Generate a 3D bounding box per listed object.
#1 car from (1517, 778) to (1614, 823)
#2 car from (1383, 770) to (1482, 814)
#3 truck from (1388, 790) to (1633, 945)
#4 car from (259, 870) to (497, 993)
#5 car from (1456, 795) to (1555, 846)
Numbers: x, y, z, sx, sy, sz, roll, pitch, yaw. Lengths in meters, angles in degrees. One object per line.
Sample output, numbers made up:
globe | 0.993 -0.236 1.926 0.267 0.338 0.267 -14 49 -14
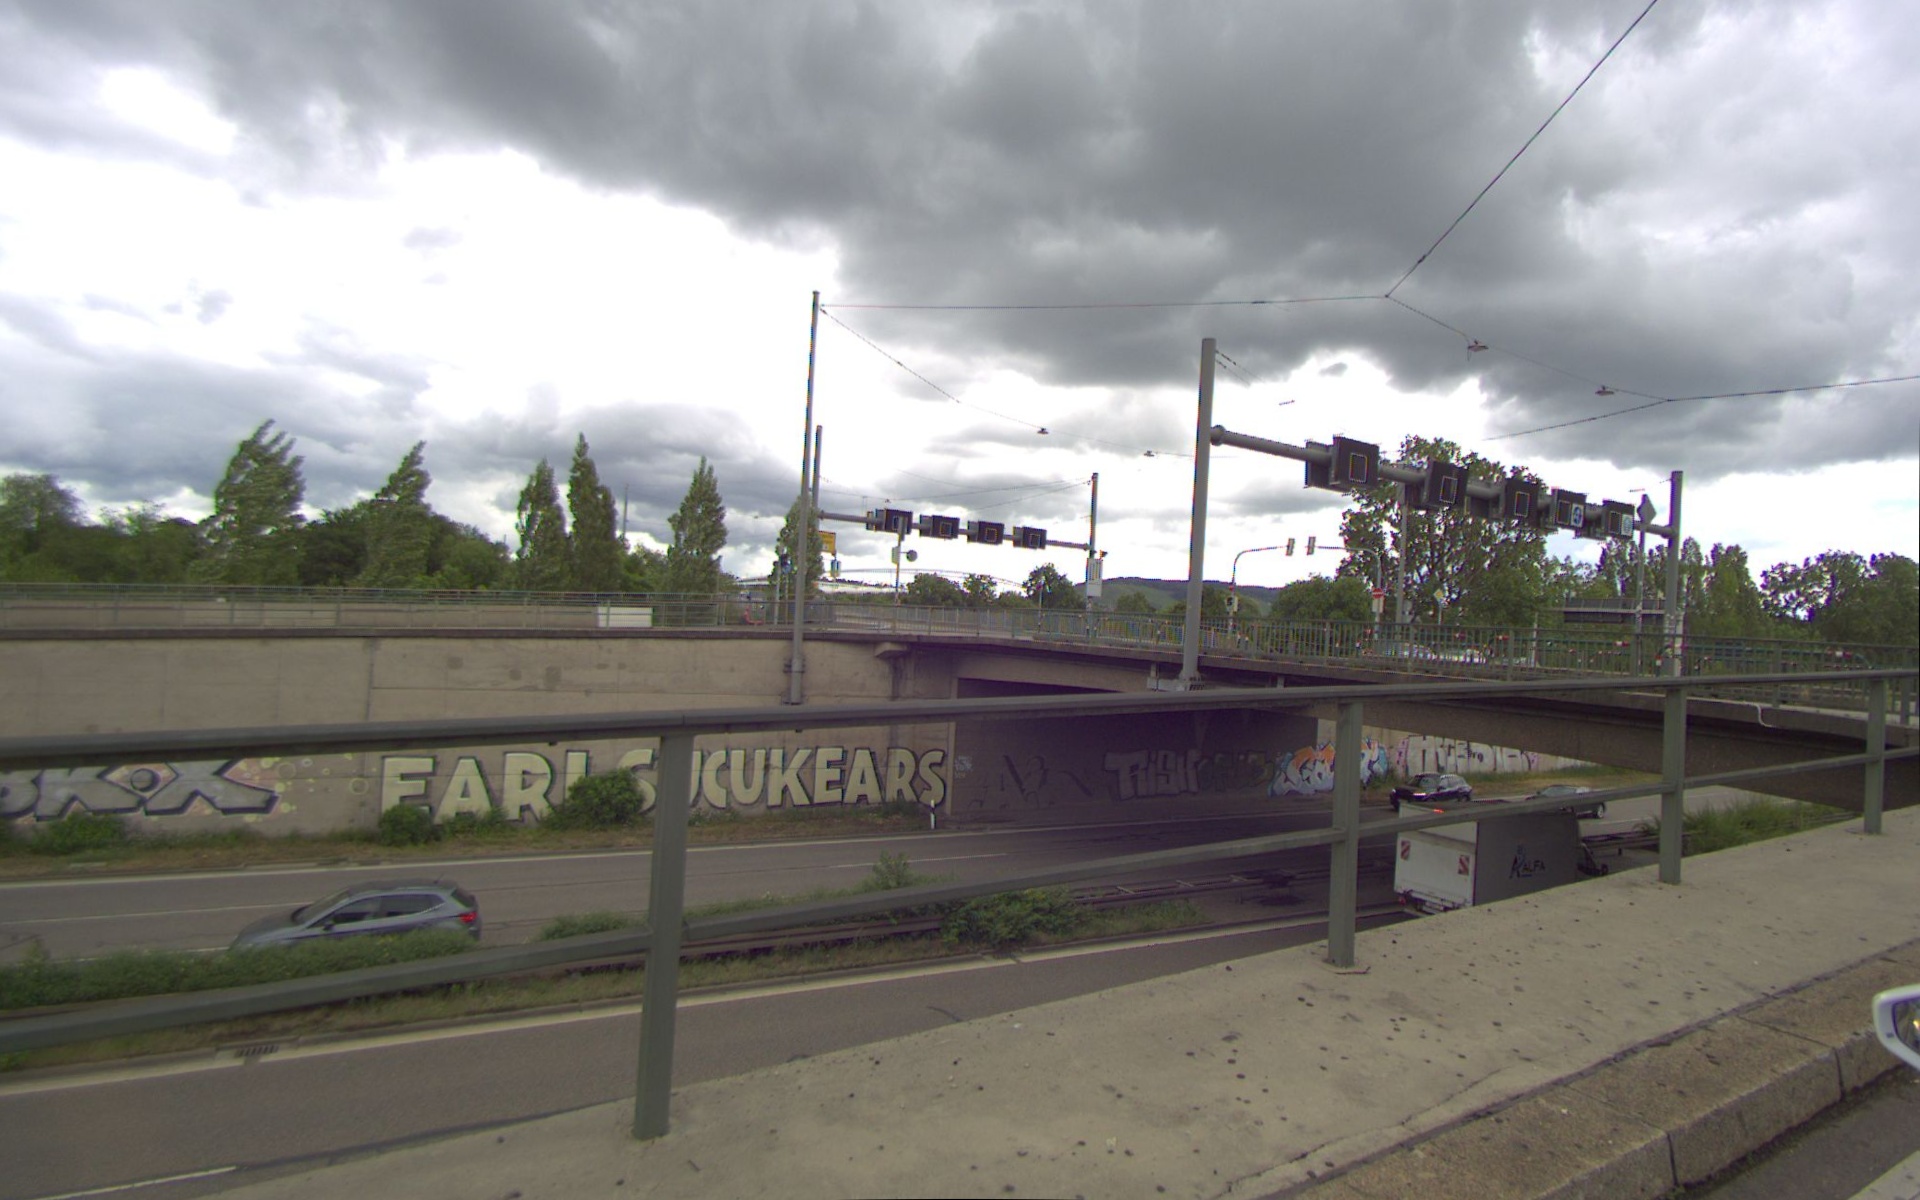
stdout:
car | 28.214 9.276 46.749 4.526 1.647 1.984 4 -4 -30
car | 22.184 8.975 47.130 4.526 1.647 1.984 4 -4 -30
truck | 14.534 6.776 26.300 7.148 3.048 2.222 4 -2 -30
car | -10.745 6.095 18.760 3.609 1.472 1.706 5 -3 -30
car | 21.325 8.577 39.254 3.855 1.513 1.765 4 -4 -32
